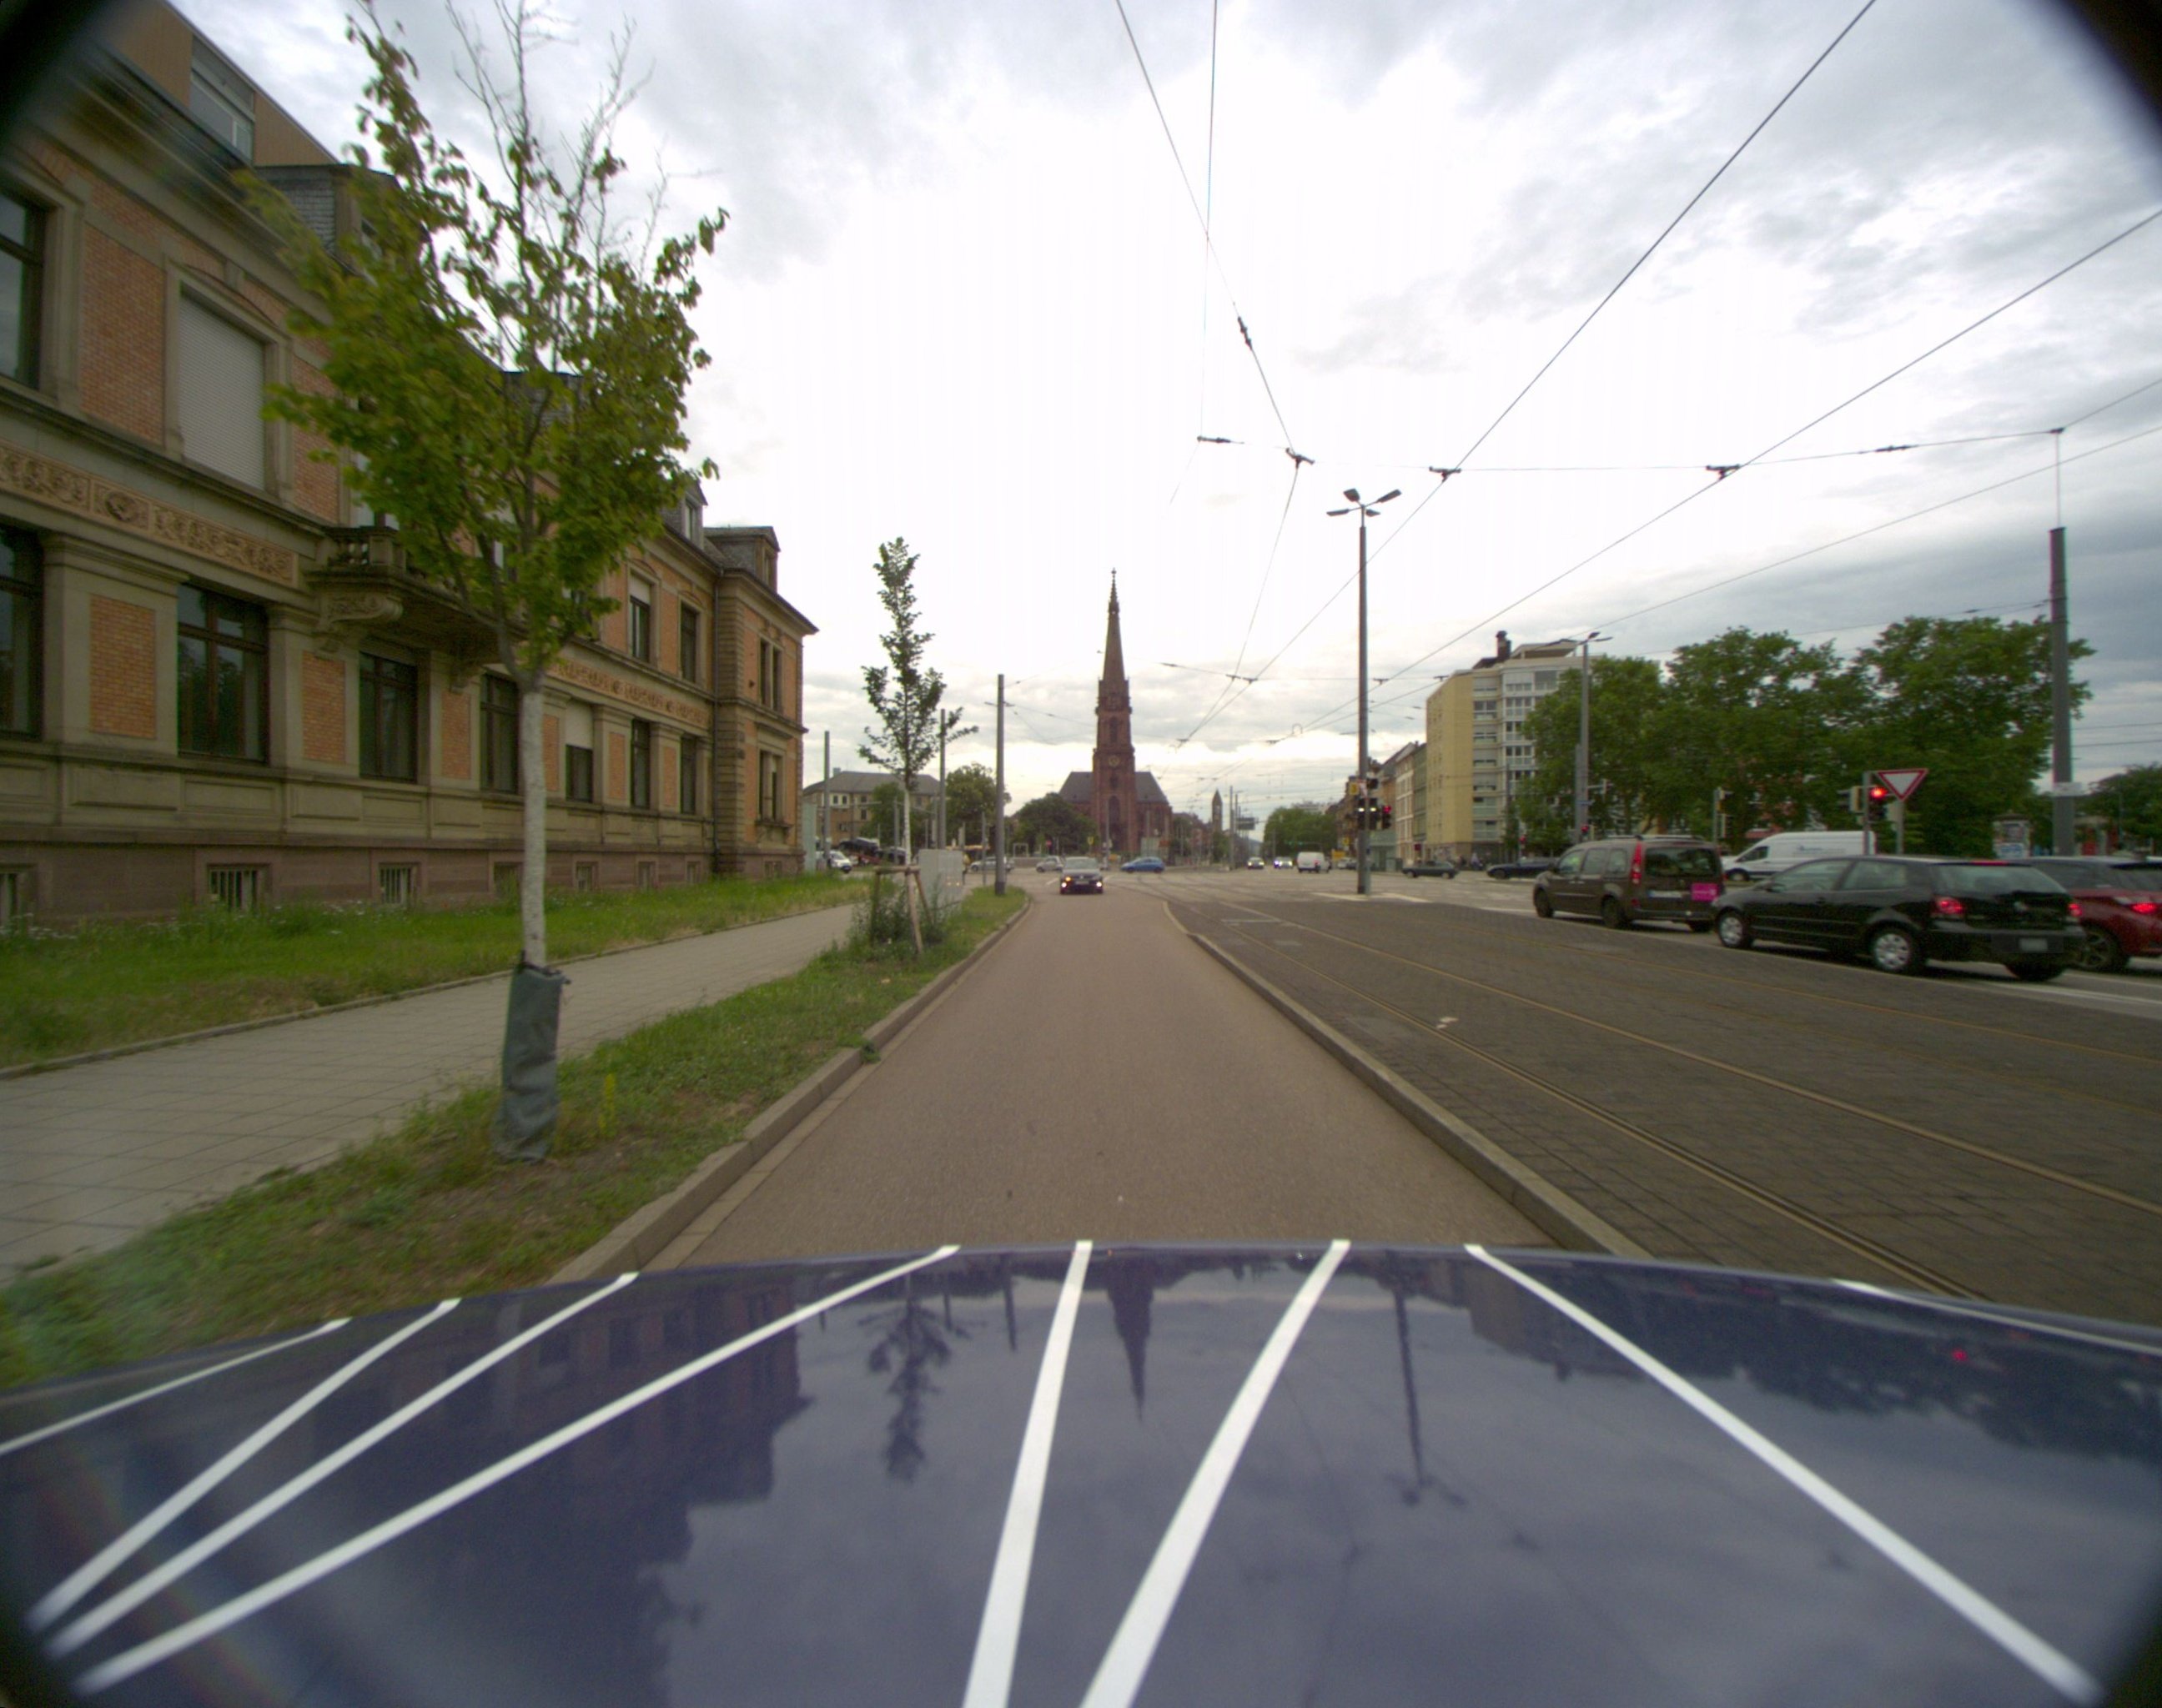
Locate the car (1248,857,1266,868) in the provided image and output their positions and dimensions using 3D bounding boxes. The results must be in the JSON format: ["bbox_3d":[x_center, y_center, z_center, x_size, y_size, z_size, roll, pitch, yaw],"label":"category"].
[{"bbox_3d":[22.095,1.045,95.448,1.997,1.433,4.003,0,0,11],"label":"car"}]

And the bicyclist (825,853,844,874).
[{"bbox_3d":[-17.936,0.697,55.331,0.758,1.512,1.103,0,0,26],"label":"bicyclist"}]

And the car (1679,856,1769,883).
[{"bbox_3d":[35.816,0.837,42.371,1.644,1.412,3.727,0,0,-45],"label":"car"}]

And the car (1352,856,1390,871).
[{"bbox_3d":[35.885,1.179,93.987,4.004,1.745,2.077,-1,1,-21],"label":"car"}]

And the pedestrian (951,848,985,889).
[{"bbox_3d":[-5.229,0.648,35.176,1.282,1.856,0.889,0,0,39],"label":"pedestrian"}]

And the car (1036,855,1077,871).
[{"bbox_3d":[-2.295,0.808,72.114,3.616,1.484,2.001,0,1,6],"label":"car"}]

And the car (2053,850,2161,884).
[{"bbox_3d":[45.233,0.544,32.573,1.644,1.412,4.258,0,0,-42],"label":"car"}]

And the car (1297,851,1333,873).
[{"bbox_3d":[22.013,0.752,71.406,1.918,1.871,5.098,1,2,33],"label":"car"}]

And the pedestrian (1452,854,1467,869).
[{"bbox_3d":[40.336,0.798,80.941,1.039,1.630,1.333,0,0,9],"label":"pedestrian"}]

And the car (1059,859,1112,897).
[{"bbox_3d":[0.251,0.894,30.230,1.654,1.404,4.002,0,0,7],"label":"car"}]

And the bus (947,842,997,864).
[{"bbox_3d":[-16.120,-0.244,111.614,2.869,3.060,11.989,-1,1,-30],"label":"bus"}]

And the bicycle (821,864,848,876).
[{"bbox_3d":[-17.956,1.177,55.388,0.765,0.835,1.830,0,-2,26],"label":"bicycle"}]

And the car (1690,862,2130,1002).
[{"bbox_3d":[10.465,0.852,10.138,1.692,1.433,4.001,0,0,5],"label":"car"}]

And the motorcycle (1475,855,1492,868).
[{"bbox_3d":[38.946,0.701,73.546,0.863,1.171,2.550,0,1,14],"label":"motorcycle"}]

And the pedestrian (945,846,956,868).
[{"bbox_3d":[-11.754,0.255,68.455,0.782,1.932,0.980,0,0,-22],"label":"pedestrian"}]

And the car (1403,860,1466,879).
[{"bbox_3d":[24.725,1.074,53.134,3.727,1.239,1.695,0,0,37],"label":"car"}]

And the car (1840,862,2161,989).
[{"bbox_3d":[13.629,0.872,10.897,1.692,1.433,4.001,0,0,5],"label":"car"}]

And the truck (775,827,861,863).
[{"bbox_3d":[-29.988,-1.060,86.363,10.427,3.898,3.020,0,2,29],"label":"truck"}]

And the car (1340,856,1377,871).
[{"bbox_3d":[35.348,1.198,96.893,4.004,1.745,2.077,-1,1,-21],"label":"car"}]

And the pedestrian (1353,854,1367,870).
[{"bbox_3d":[30.044,0.849,81.892,1.178,1.774,1.041,0,0,8],"label":"pedestrian"}]

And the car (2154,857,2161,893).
[{"bbox_3d":[44.641,0.814,28.614,2.004,1.412,4.788,0,0,-37],"label":"car"}]

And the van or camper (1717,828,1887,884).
[{"bbox_3d":[36.067,0.033,38.214,2.428,2.596,6.033,-2,2,-44],"label":"van or camper"}]

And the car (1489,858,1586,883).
[{"bbox_3d":[27.601,0.938,46.034,2.004,1.412,4.648,0,0,-45],"label":"car"}]

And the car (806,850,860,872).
[{"bbox_3d":[-22.176,0.616,67.918,4.511,1.930,2.004,0,0,28],"label":"car"}]

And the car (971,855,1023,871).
[{"bbox_3d":[-8.374,0.919,75.739,4.669,1.484,2.004,-1,-2,18],"label":"car"}]

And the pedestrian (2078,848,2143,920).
[{"bbox_3d":[25.389,0.726,18.758,0.601,1.718,0.914,0,0,27],"label":"pedestrian"}]

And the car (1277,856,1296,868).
[{"bbox_3d":[25.693,0.972,95.263,1.997,1.433,4.003,0,0,11],"label":"car"}]

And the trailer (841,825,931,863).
[{"bbox_3d":[-21.029,-1.039,81.793,9.529,3.950,3.001,0,1,25],"label":"trailer"}]

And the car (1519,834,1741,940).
[{"bbox_3d":[11.035,0.574,15.726,1.692,1.889,4.388,0,0,5],"label":"car"}]

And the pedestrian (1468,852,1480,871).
[{"bbox_3d":[37.298,0.714,72.112,0.706,1.710,0.915,0,1,1],"label":"pedestrian"}]

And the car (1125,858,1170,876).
[{"bbox_3d":[6.064,1.205,70.025,4.055,1.483,2.002,0,-3,2],"label":"car"}]
